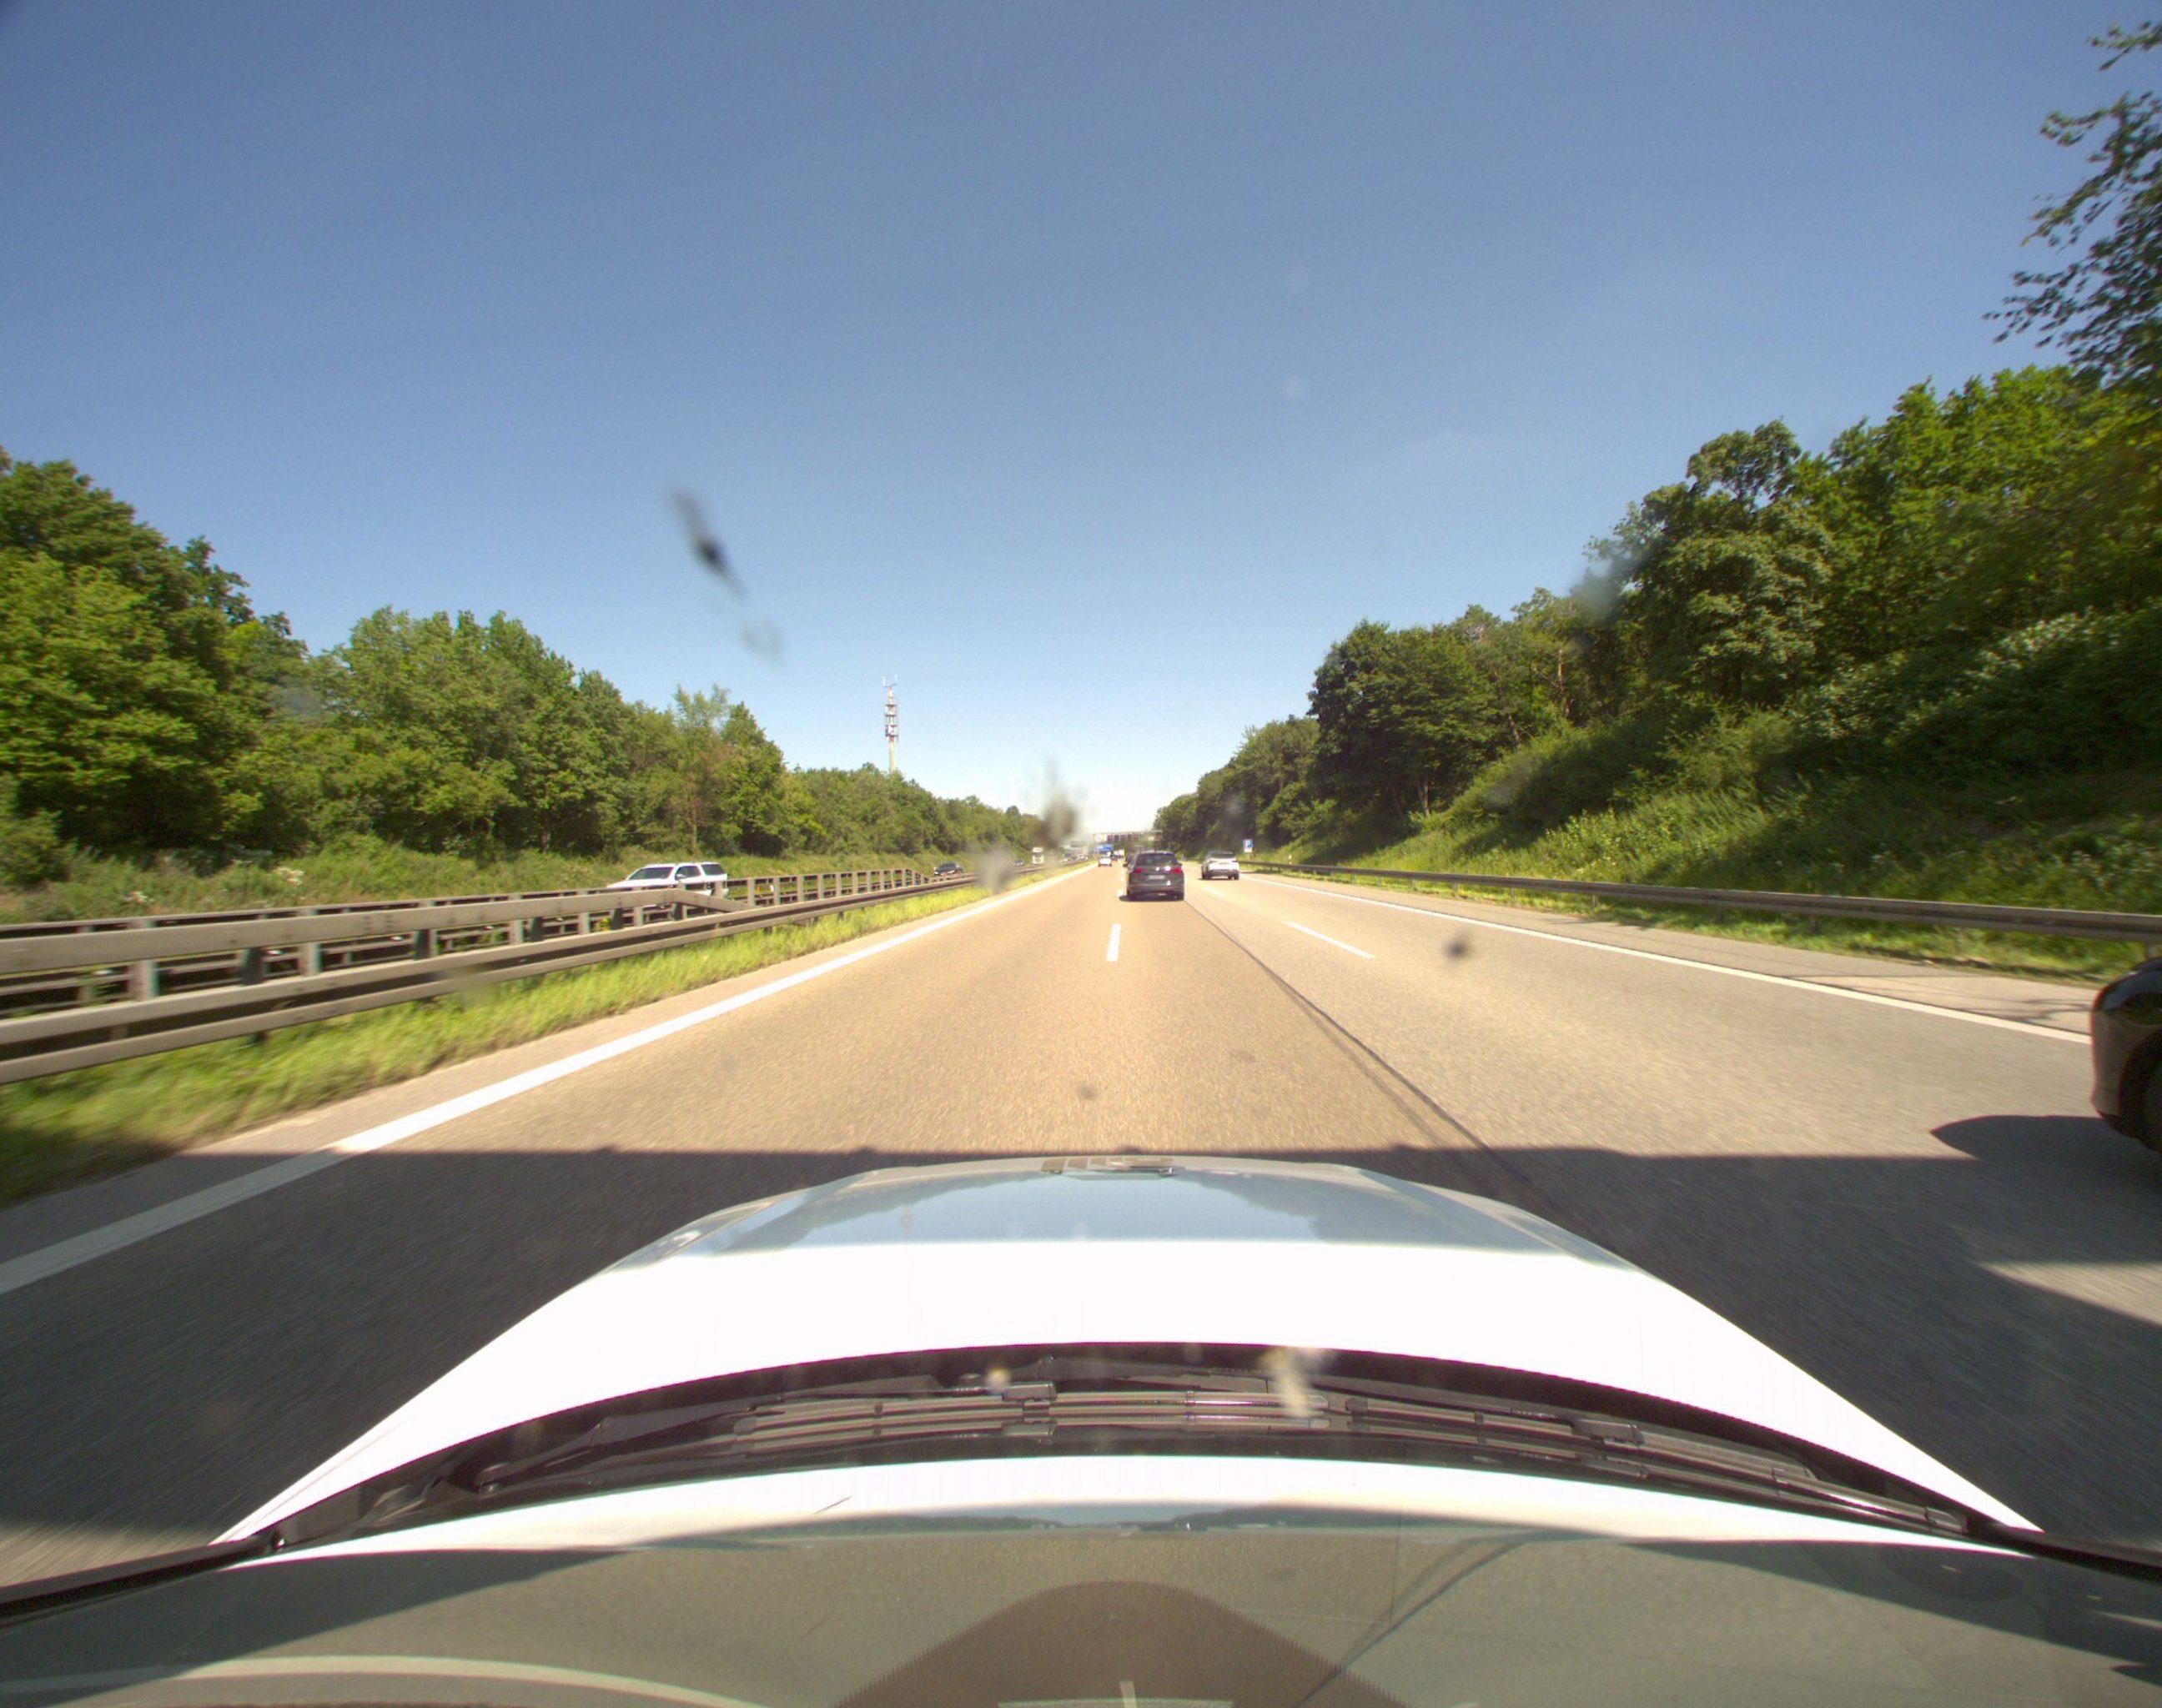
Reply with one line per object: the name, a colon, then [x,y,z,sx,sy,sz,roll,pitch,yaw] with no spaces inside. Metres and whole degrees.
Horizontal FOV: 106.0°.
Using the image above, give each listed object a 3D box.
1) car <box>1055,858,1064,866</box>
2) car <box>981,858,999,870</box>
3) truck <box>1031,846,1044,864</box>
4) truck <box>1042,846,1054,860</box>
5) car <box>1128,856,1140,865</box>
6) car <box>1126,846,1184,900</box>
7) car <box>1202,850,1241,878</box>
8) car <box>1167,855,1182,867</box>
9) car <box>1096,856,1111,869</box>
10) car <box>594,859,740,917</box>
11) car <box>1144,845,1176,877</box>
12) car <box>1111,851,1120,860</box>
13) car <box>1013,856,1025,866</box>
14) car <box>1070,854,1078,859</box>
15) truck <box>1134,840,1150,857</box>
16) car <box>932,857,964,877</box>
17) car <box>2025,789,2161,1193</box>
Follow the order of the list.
car: [-4.165,1.539,157.192,1.480,1.356,4.420,-2,0,2]
car: [-13.015,1.435,116.672,1.621,1.492,4.945,-4,0,3]
truck: [-10.366,0.299,193.757,2.605,4.058,4.002,-4,0,2]
truck: [-9.242,-0.292,227.255,2.693,3.809,4.002,-4,0,2]
car: [7.983,0.934,123.202,1.757,1.381,4.263,0,0,4]
car: [2.461,0.591,27.597,1.791,1.669,4.263,0,0,4]
car: [8.121,0.551,47.411,1.835,1.568,4.040,0,0,4]
car: [12.449,0.945,108.372,1.757,1.568,4.263,0,0,4]
car: [2.950,1.062,104.260,1.757,1.568,4.263,0,0,4]
car: [-13.909,1.073,27.865,1.770,1.633,5.545,-4,0,4]
car: [4.976,0.412,51.848,1.658,1.876,4.830,-2,0,2]
car: [7.752,0.309,181.564,1.986,2.013,4.002,-2,0,2]
car: [-10.995,1.258,144.531,1.589,1.568,4.371,-4,0,2]
car: [-1.715,0.647,215.050,1.800,1.405,4.821,-2,0,2]
truck: [16.682,-1.402,223.479,3.766,4.422,14.053,-1,0,1]
car: [-11.661,1.106,71.466,1.749,1.568,4.433,-4,0,3]
car: [5.291,0.562,1.483,1.911,1.669,4.691,0,0,4]
